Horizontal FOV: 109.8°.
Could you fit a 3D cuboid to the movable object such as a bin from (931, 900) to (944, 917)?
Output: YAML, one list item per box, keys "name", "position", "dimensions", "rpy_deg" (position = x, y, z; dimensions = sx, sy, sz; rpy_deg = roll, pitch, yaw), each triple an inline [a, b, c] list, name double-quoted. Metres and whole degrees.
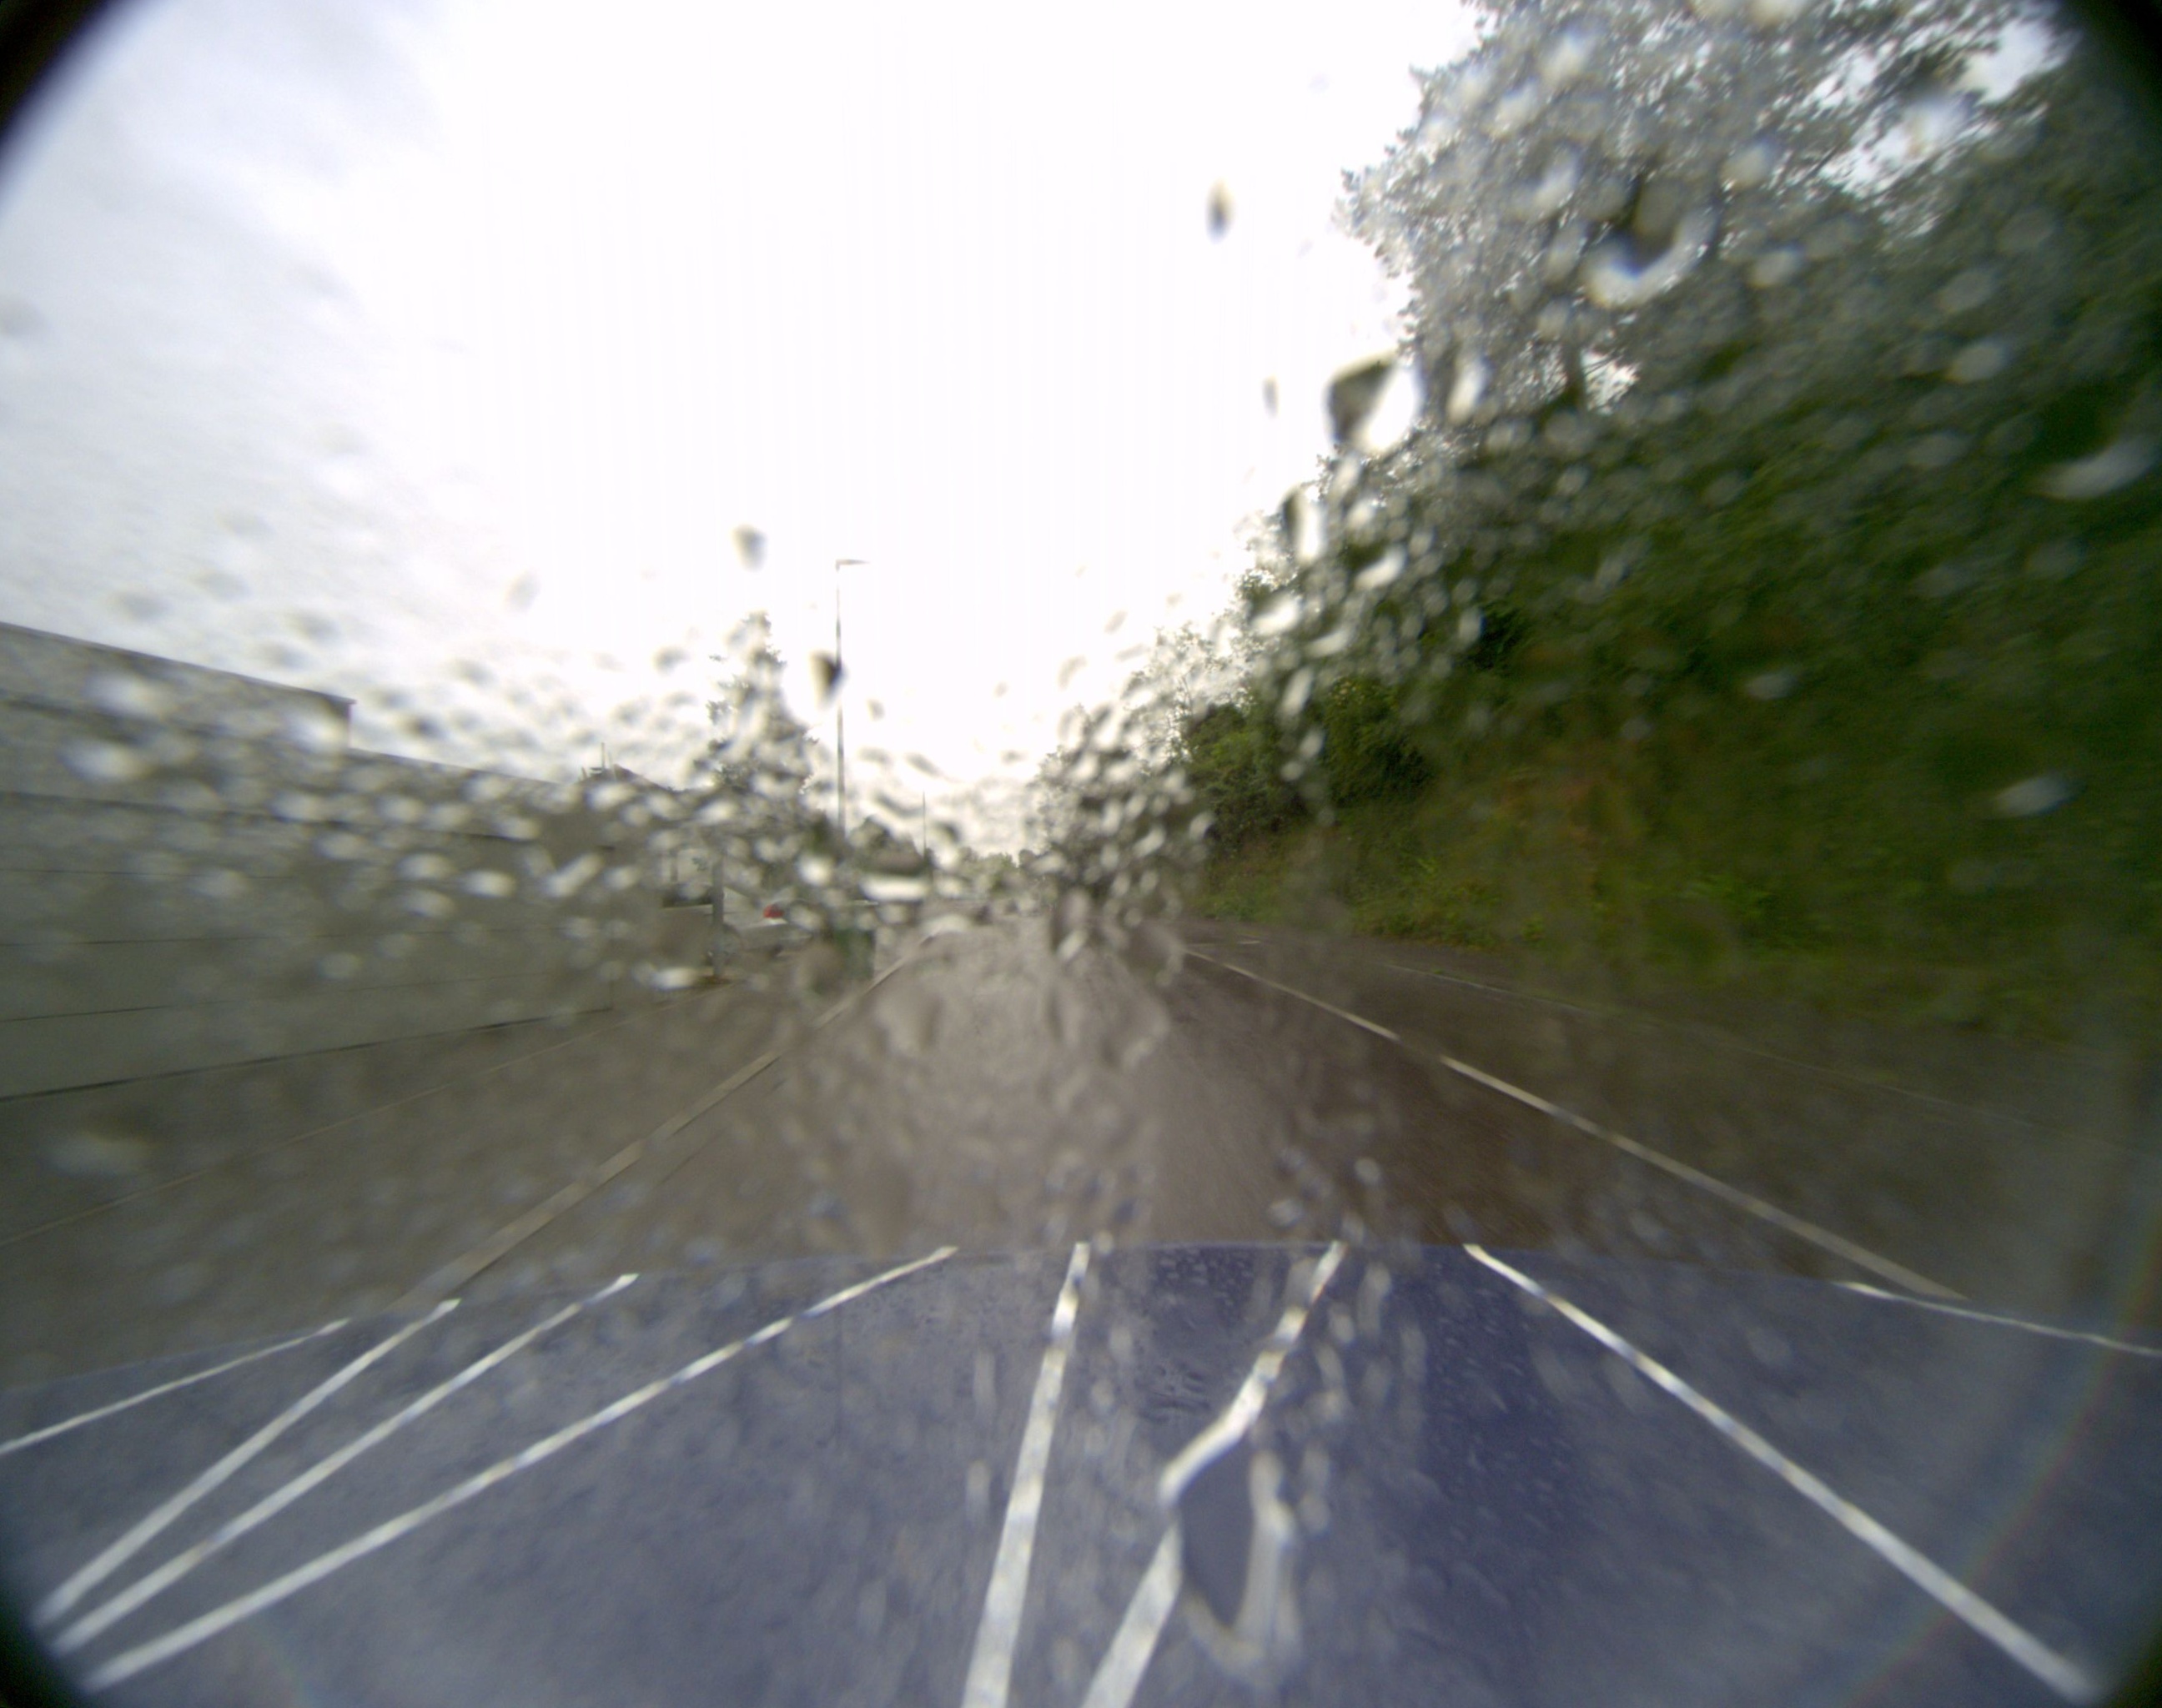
- name: "movable object such as a bin"
  position: [-9.394, 3.561, 49.696]
  dimensions: [0.741, 1.081, 0.600]
  rpy_deg: [1, -4, -6]

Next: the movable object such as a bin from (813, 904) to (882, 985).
- name: "movable object such as a bin"
  position: [-3.351, 1.293, 10.952]
  dimensions: [0.792, 1.089, 0.675]
  rpy_deg: [2, -1, -5]

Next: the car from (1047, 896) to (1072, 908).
- name: "car"
  position: [-2.959, 6.765, 106.851]
  dimensions: [1.797, 1.459, 4.225]
  rpy_deg: [-4, -4, 24]

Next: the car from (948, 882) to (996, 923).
- name: "car"
  position: [-4.713, 2.115, 32.807]
  dimensions: [1.881, 1.581, 4.479]
  rpy_deg: [-1, -4, -9]

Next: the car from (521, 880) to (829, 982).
- name: "car"
  position: [-6.813, 1.263, 13.049]
  dimensions: [4.226, 1.406, 1.942]
  rpy_deg: [-3, -1, 4]

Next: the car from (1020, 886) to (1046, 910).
- name: "car"
  position: [-4.184, 3.808, 65.425]
  dimensions: [2.118, 1.961, 5.174]
  rpy_deg: [-1, -4, -5]
